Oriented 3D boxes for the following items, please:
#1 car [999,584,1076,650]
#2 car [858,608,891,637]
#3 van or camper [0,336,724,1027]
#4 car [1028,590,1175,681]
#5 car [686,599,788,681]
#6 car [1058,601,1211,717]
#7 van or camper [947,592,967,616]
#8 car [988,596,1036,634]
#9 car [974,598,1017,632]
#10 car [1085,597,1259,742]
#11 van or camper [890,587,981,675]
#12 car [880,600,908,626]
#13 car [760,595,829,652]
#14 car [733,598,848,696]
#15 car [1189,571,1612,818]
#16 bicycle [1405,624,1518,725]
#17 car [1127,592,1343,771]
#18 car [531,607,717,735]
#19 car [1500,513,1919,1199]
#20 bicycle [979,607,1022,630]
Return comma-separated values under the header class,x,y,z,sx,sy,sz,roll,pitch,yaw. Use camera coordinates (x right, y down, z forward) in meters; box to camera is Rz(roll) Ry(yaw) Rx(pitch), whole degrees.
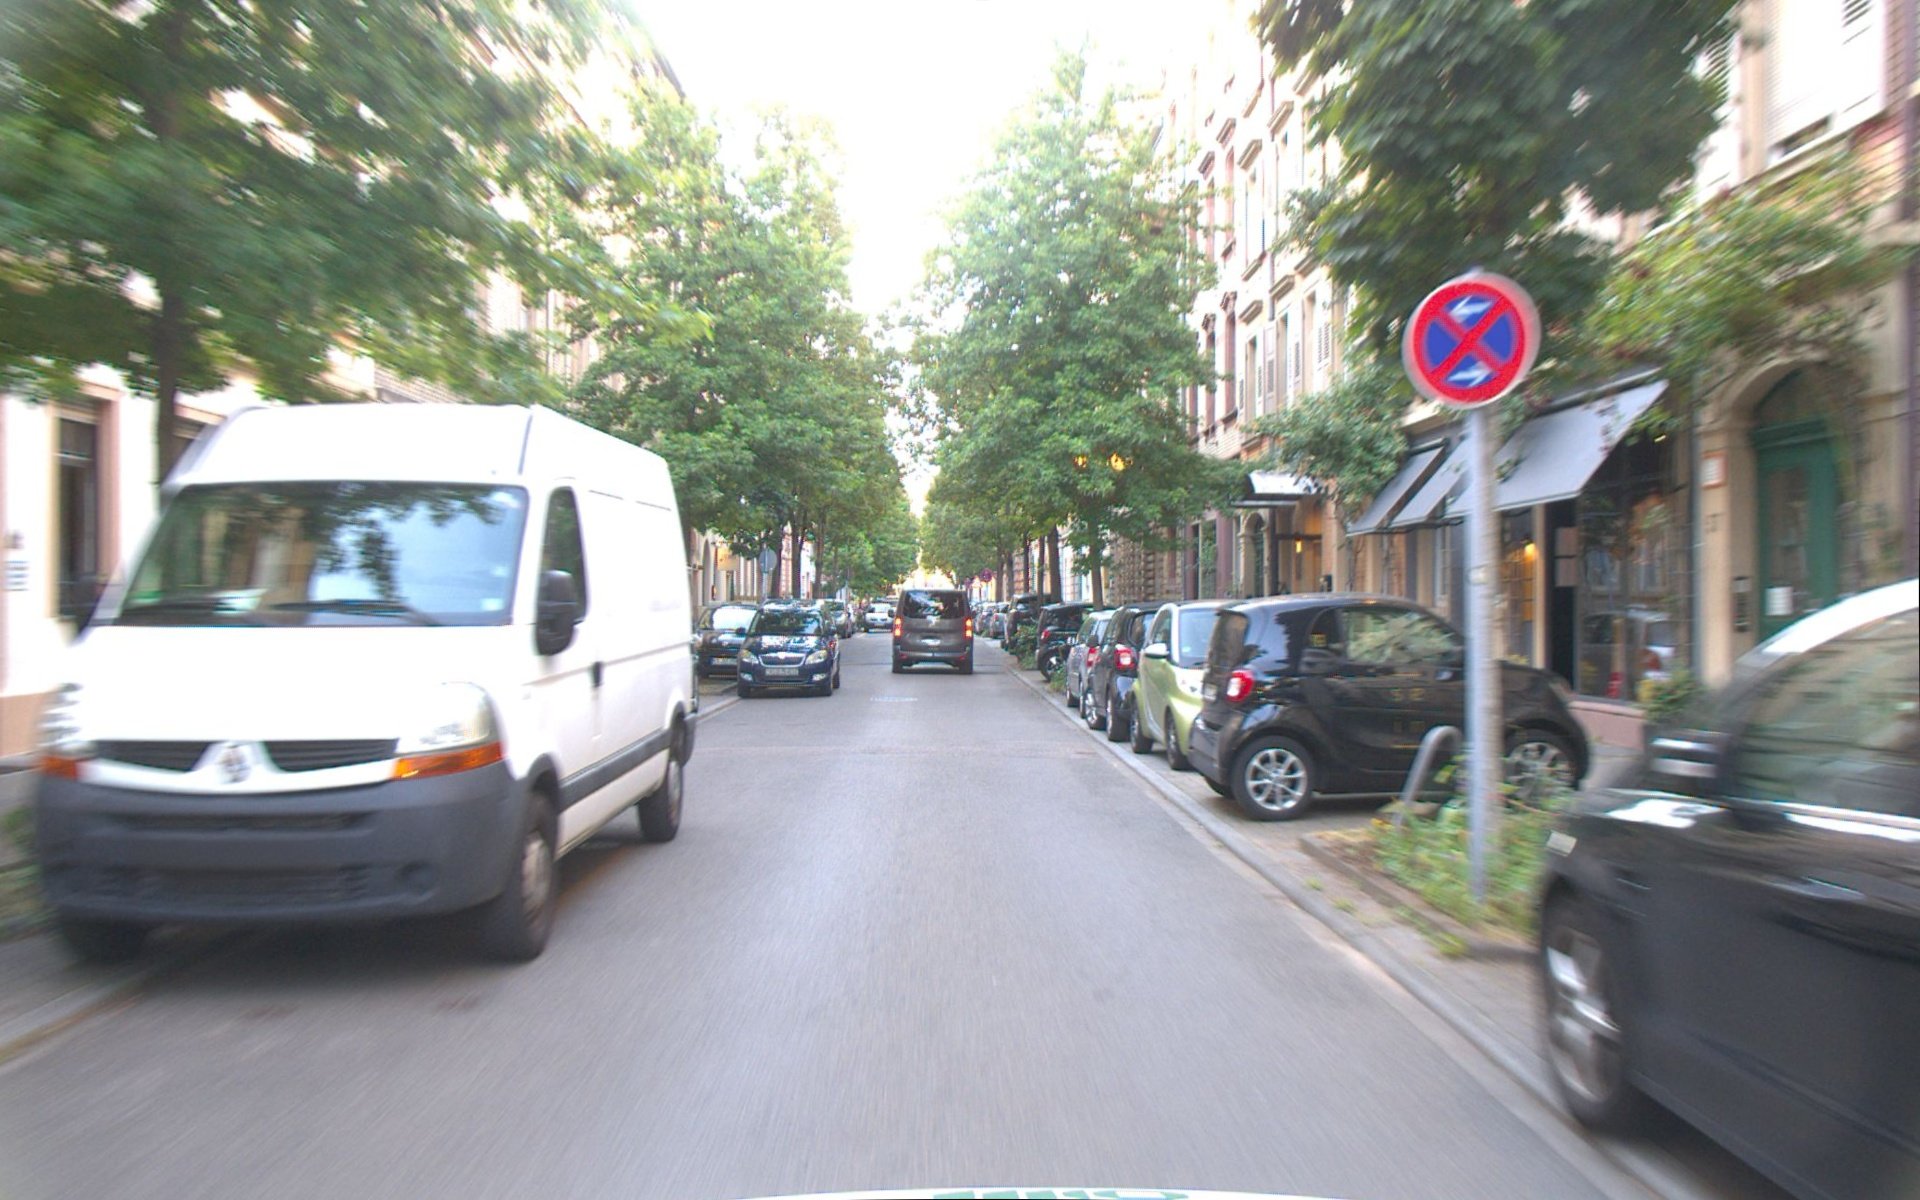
class,x,y,z,sx,sy,sz,roll,pitch,yaw
car,2.356,0.492,51.372,1.973,1.865,4.809,-3,0,-1
car,-4.374,1.132,84.628,1.548,1.445,3.752,-1,0,-1
van or camper,-2.714,0.286,8.810,2.174,2.473,5.659,-1,0,-1
car,2.833,0.703,33.543,2.741,1.627,1.800,-4,0,-1
car,-4.461,0.771,33.479,1.657,1.528,3.710,1,0,-2
car,2.454,0.784,24.141,1.698,1.517,4.103,-1,0,-1
van or camper,-0.388,0.430,180.155,1.953,2.644,5.421,0,0,-2
car,2.152,0.613,69.070,1.723,1.488,4.306,-1,0,-2
car,1.636,0.676,77.973,1.682,1.502,4.365,-2,0,-3
car,2.455,0.766,19.766,1.559,1.588,3.121,0,0,-3
van or camper,-0.516,0.681,38.597,1.993,1.931,4.271,0,0,1
car,-4.081,0.782,101.904,1.630,1.590,3.996,-1,0,-4
car,-4.985,0.685,50.145,1.641,1.635,3.861,1,0,1
car,-2.931,0.771,29.329,1.689,1.601,4.218,0,0,-1
car,3.163,0.650,12.226,2.660,1.600,1.525,-2,0,-1
bicycle,5.810,0.834,19.258,0.672,1.054,1.950,-3,0,0
car,2.631,0.730,16.382,1.435,1.579,2.915,-1,0,-4
car,-4.297,0.844,21.725,1.731,1.488,4.256,0,0,-2
car,2.786,0.666,3.259,1.900,1.659,4.452,0,0,-1
bicycle,1.830,0.844,75.077,1.889,0.999,0.634,0,0,-23
